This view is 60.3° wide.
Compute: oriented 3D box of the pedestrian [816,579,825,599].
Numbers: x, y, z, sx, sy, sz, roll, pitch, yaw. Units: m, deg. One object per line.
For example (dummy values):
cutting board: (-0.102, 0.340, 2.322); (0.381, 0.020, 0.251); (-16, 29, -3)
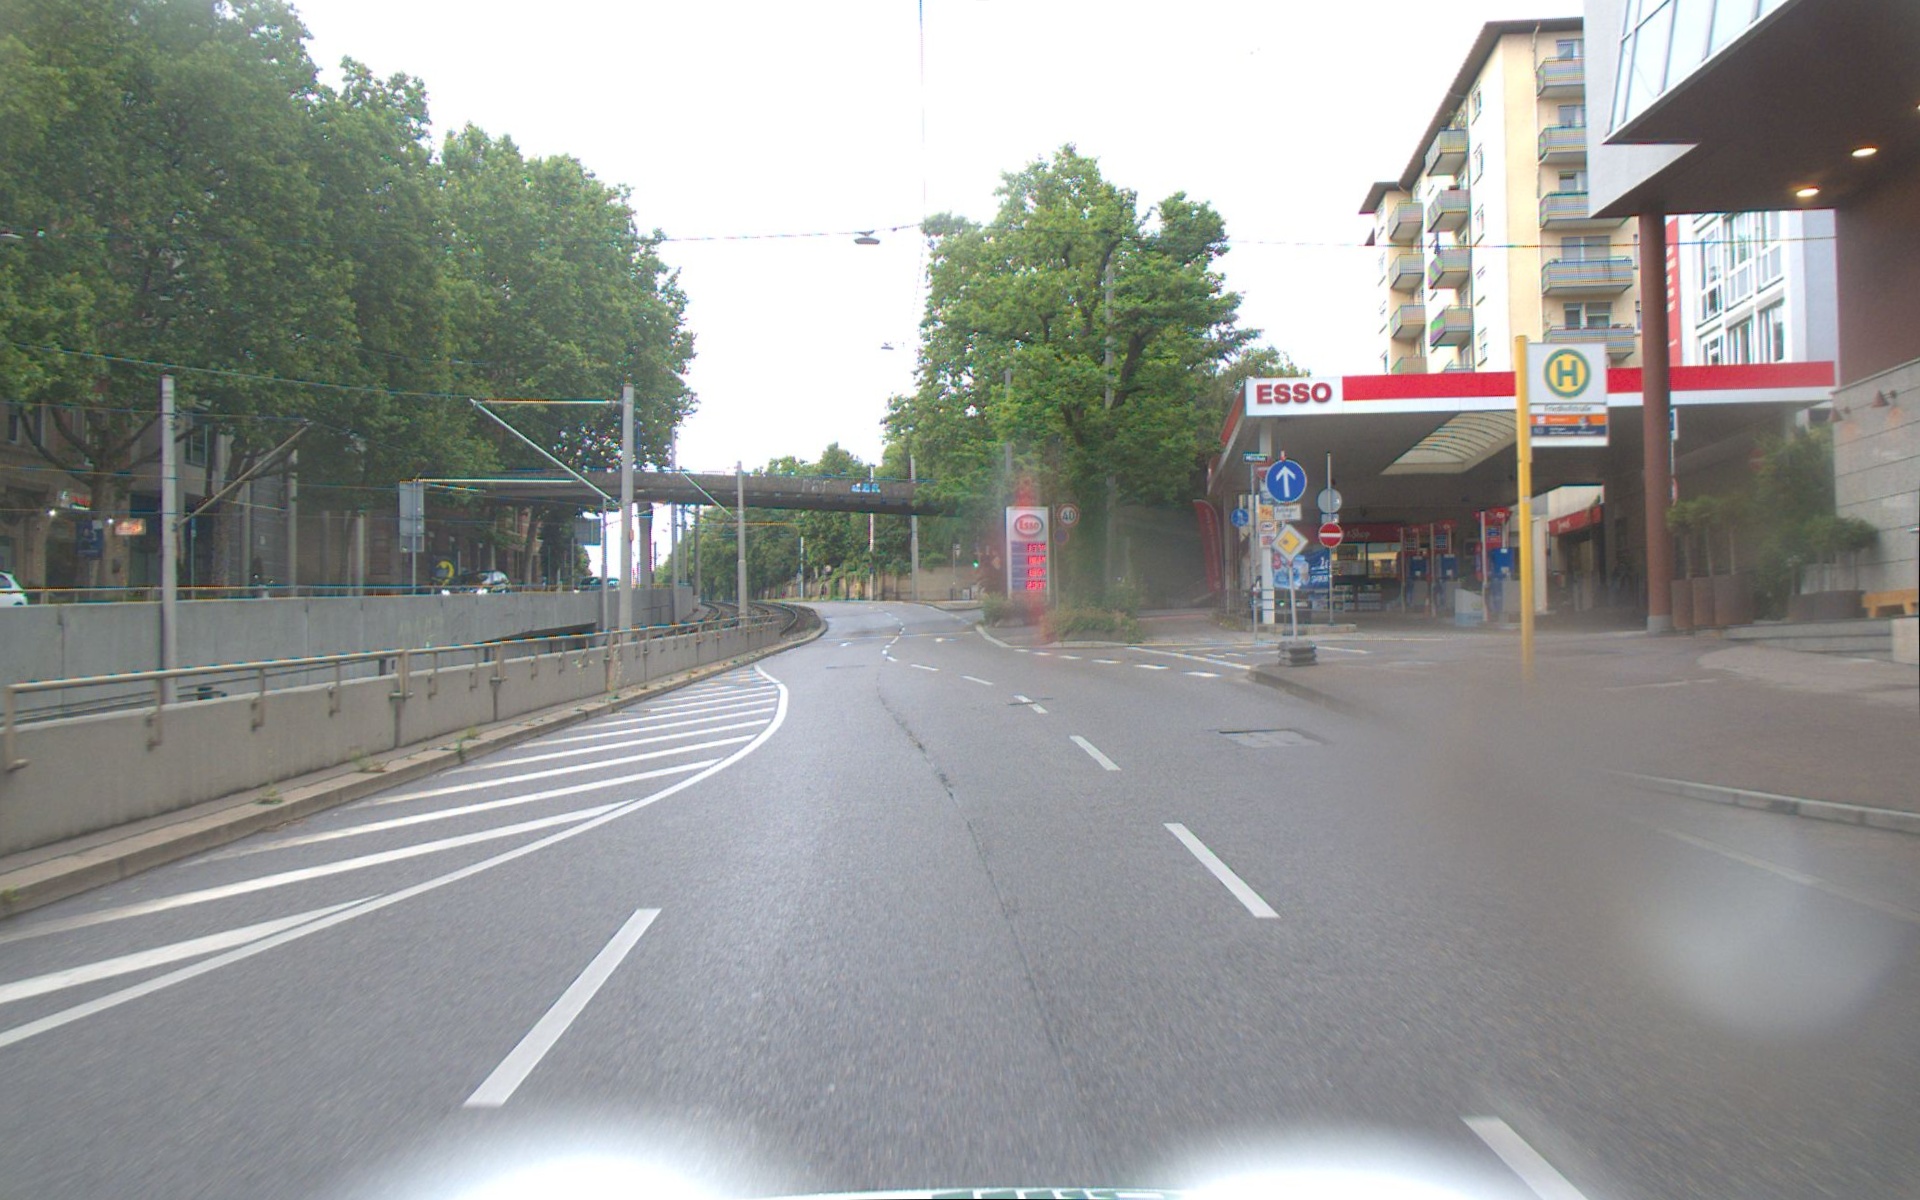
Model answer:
pedestrian: (-13.266, -0.997, 157.288); (0.707, 1.882, 0.780); (1, -1, -13)

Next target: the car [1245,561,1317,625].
car: (8.998, -0.193, 46.616); (1.734, 1.652, 3.869); (-3, 0, 8)

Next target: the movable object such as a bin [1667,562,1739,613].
movable object such as a bin: (21.617, -0.368, 48.199); (1.138, 1.450, 2.510); (-1, 0, 5)

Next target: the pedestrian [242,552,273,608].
pedestrian: (-26.044, -0.735, 61.355); (0.655, 2.049, 0.935); (1, -1, 2)

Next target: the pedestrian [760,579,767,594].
pedestrian: (-22.608, -1.557, 190.712); (0.707, 1.717, 0.726); (1, -1, -14)

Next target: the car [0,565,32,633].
car: (-23.885, -0.030, 38.908); (1.757, 1.639, 4.112); (1, 0, 0)

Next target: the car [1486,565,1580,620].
car: (17.025, -0.186, 49.314); (1.756, 1.537, 4.002); (1, -1, 6)

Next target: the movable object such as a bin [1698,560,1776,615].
movable object such as a bin: (21.331, -0.356, 45.462); (1.138, 1.450, 2.510); (-1, 0, 5)

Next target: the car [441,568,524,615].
car: (-19.890, -0.362, 69.107); (1.916, 1.885, 4.969); (1, 0, 1)
